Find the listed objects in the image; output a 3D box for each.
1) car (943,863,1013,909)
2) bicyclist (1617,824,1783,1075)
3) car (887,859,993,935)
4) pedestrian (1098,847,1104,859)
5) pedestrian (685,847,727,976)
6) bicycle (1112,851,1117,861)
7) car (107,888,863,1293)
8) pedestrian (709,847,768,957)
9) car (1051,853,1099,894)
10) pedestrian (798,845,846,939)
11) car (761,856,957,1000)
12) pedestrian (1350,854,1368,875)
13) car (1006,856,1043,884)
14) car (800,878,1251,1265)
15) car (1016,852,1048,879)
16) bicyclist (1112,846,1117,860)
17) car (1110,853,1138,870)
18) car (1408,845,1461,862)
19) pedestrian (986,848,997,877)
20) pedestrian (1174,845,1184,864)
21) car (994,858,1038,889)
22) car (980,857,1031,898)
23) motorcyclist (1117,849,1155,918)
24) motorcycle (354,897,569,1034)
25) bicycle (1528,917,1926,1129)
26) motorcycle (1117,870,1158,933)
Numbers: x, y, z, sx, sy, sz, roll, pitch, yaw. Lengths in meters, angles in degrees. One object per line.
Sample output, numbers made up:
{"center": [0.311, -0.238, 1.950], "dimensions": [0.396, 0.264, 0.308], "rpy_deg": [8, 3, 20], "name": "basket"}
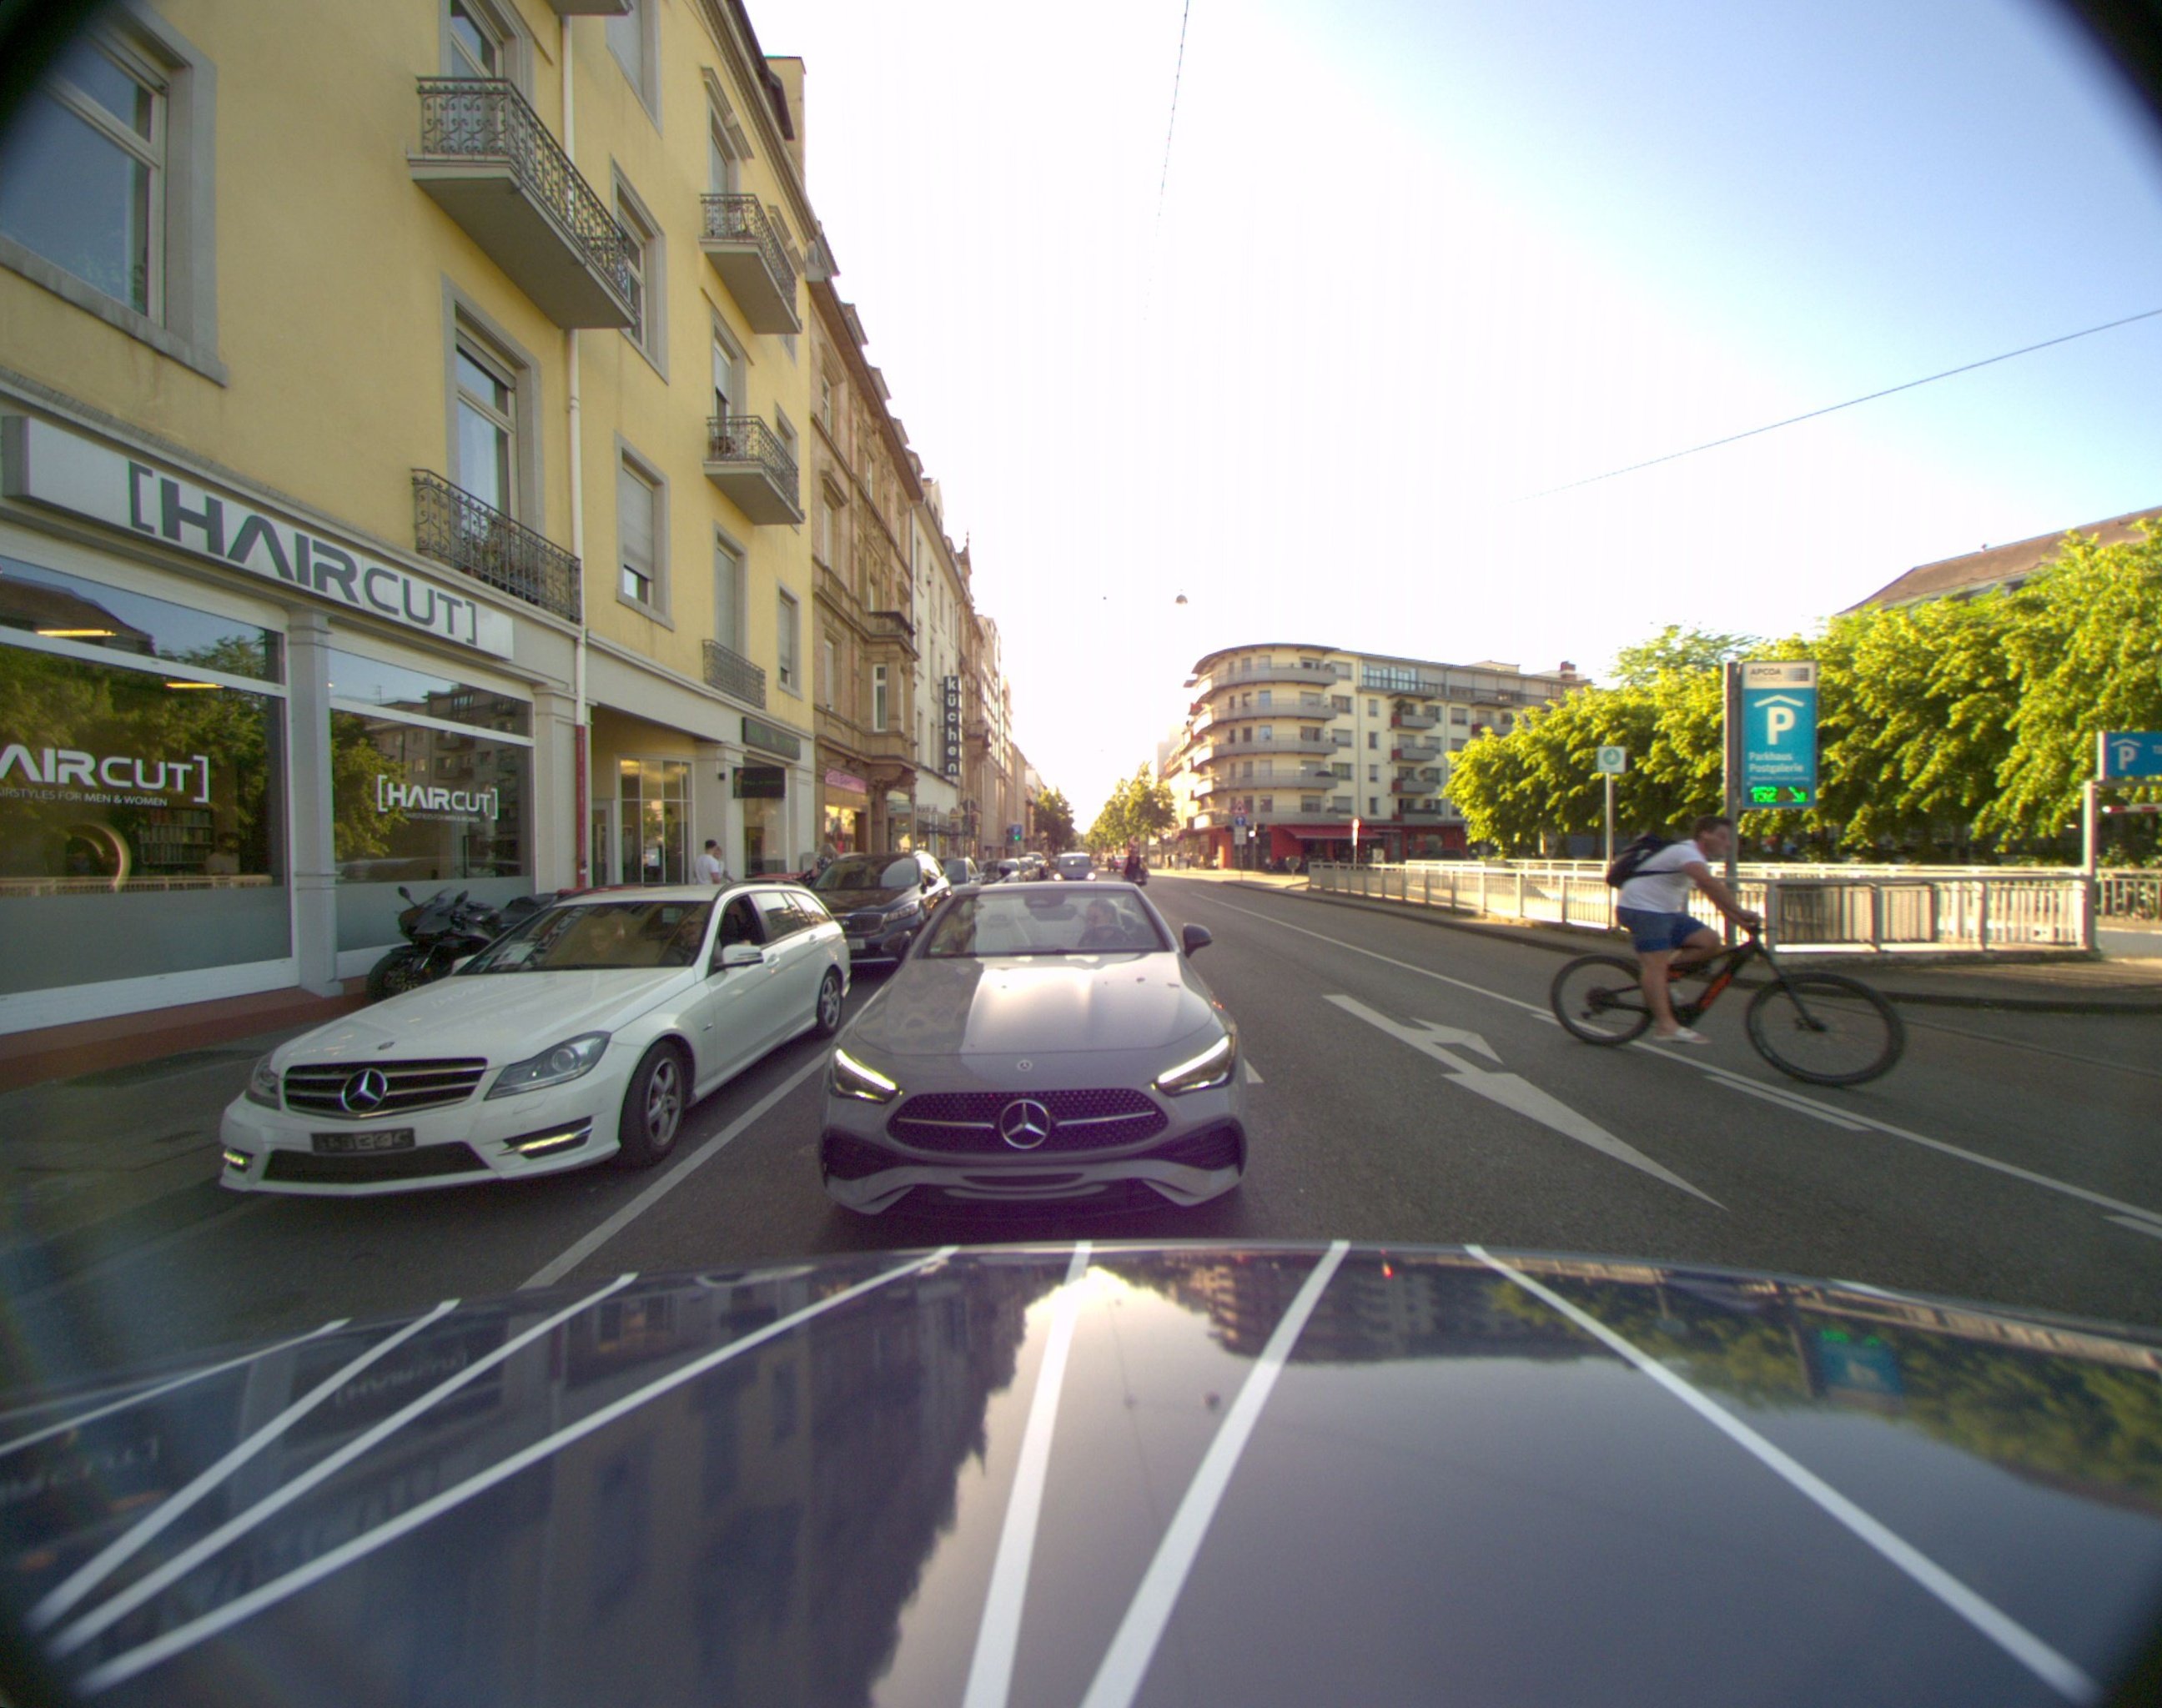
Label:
{"center": [-3.349, 1.018, 25.410], "dimensions": [1.802, 1.259, 4.085], "rpy_deg": [-2, 1, -1], "name": "car"}
{"center": [4.478, 0.617, 5.497], "dimensions": [0.888, 1.625, 0.766], "rpy_deg": [-1, 1, -39], "name": "bicyclist"}
{"center": [-3.296, 0.947, 18.564], "dimensions": [1.802, 1.518, 4.085], "rpy_deg": [-2, 1, -1], "name": "car"}
{"center": [3.144, -0.142, 122.154], "dimensions": [0.860, 2.002, 0.889], "rpy_deg": [-2, 1, 1], "name": "pedestrian"}
{"center": [-5.908, 0.874, 11.972], "dimensions": [0.375, 1.971, 0.692], "rpy_deg": [-2, 1, -43], "name": "pedestrian"}
{"center": [3.976, 0.226, 90.138], "dimensions": [0.527, 1.163, 1.593], "rpy_deg": [-2, 1, 2], "name": "bicycle"}
{"center": [-3.057, 1.069, 5.286], "dimensions": [1.704, 1.351, 4.378], "rpy_deg": [-2, 1, 1], "name": "car"}
{"center": [-5.897, 0.804, 13.115], "dimensions": [0.664, 1.840, 0.575], "rpy_deg": [-2, 1, 2], "name": "pedestrian"}
{"center": [-0.201, 0.770, 32.286], "dimensions": [1.856, 1.543, 3.999], "rpy_deg": [-2, 1, 1], "name": "car"}
{"center": [-4.744, 0.679, 13.918], "dimensions": [0.720, 1.644, 0.604], "rpy_deg": [-2, 1, -26], "name": "pedestrian"}
{"center": [-3.014, 0.895, 11.298], "dimensions": [1.803, 1.629, 4.243], "rpy_deg": [-2, 1, -3], "name": "car"}
{"center": [21.617, 0.808, 59.081], "dimensions": [0.863, 1.586, 0.887], "rpy_deg": [-3, 1, -38], "name": "pedestrian"}
{"center": [-3.032, 0.842, 41.305], "dimensions": [1.725, 1.332, 3.668], "rpy_deg": [-2, 1, -1], "name": "car"}
{"center": [-0.266, 0.958, 5.127], "dimensions": [1.802, 1.351, 3.999], "rpy_deg": [-2, 1, -1], "name": "car"}
{"center": [-3.026, 0.702, 47.398], "dimensions": [1.725, 1.506, 4.004], "rpy_deg": [-2, 1, -1], "name": "car"}
{"center": [3.968, -0.113, 90.119], "dimensions": [0.524, 1.539, 0.798], "rpy_deg": [-2, 1, 2], "name": "bicyclist"}
{"center": [3.807, 0.638, 67.333], "dimensions": [1.824, 1.346, 4.261], "rpy_deg": [1, 1, -6], "name": "car"}
{"center": [29.050, -0.052, 62.443], "dimensions": [4.004, 1.294, 1.753], "rpy_deg": [-2, 1, -23], "name": "car"}
{"center": [-5.781, 0.518, 49.101], "dimensions": [0.574, 1.840, 0.665], "rpy_deg": [-2, 1, 1], "name": "pedestrian"}
{"center": [10.417, 0.038, 80.692], "dimensions": [0.860, 2.002, 0.889], "rpy_deg": [-2, 1, 0], "name": "pedestrian"}
{"center": [-3.108, 0.903, 36.813], "dimensions": [1.802, 1.332, 3.838], "rpy_deg": [-2, 1, -1], "name": "car"}
{"center": [-2.999, 0.910, 30.767], "dimensions": [1.660, 1.423, 4.085], "rpy_deg": [-2, 1, -1], "name": "car"}
{"center": [1.183, 0.620, 16.335], "dimensions": [0.722, 1.438, 0.705], "rpy_deg": [-2, 1, 1], "name": "motorcyclist"}
{"center": [-6.173, 1.048, 7.742], "dimensions": [0.567, 1.072, 1.954], "rpy_deg": [2, 1, 1], "name": "motorcycle"}
{"center": [4.431, 1.060, 5.392], "dimensions": [0.642, 1.078, 2.056], "rpy_deg": [-2, 1, -39], "name": "bicycle"}
{"center": [1.198, 0.980, 16.348], "dimensions": [0.720, 1.177, 1.906], "rpy_deg": [-2, 1, 1], "name": "motorcycle"}
